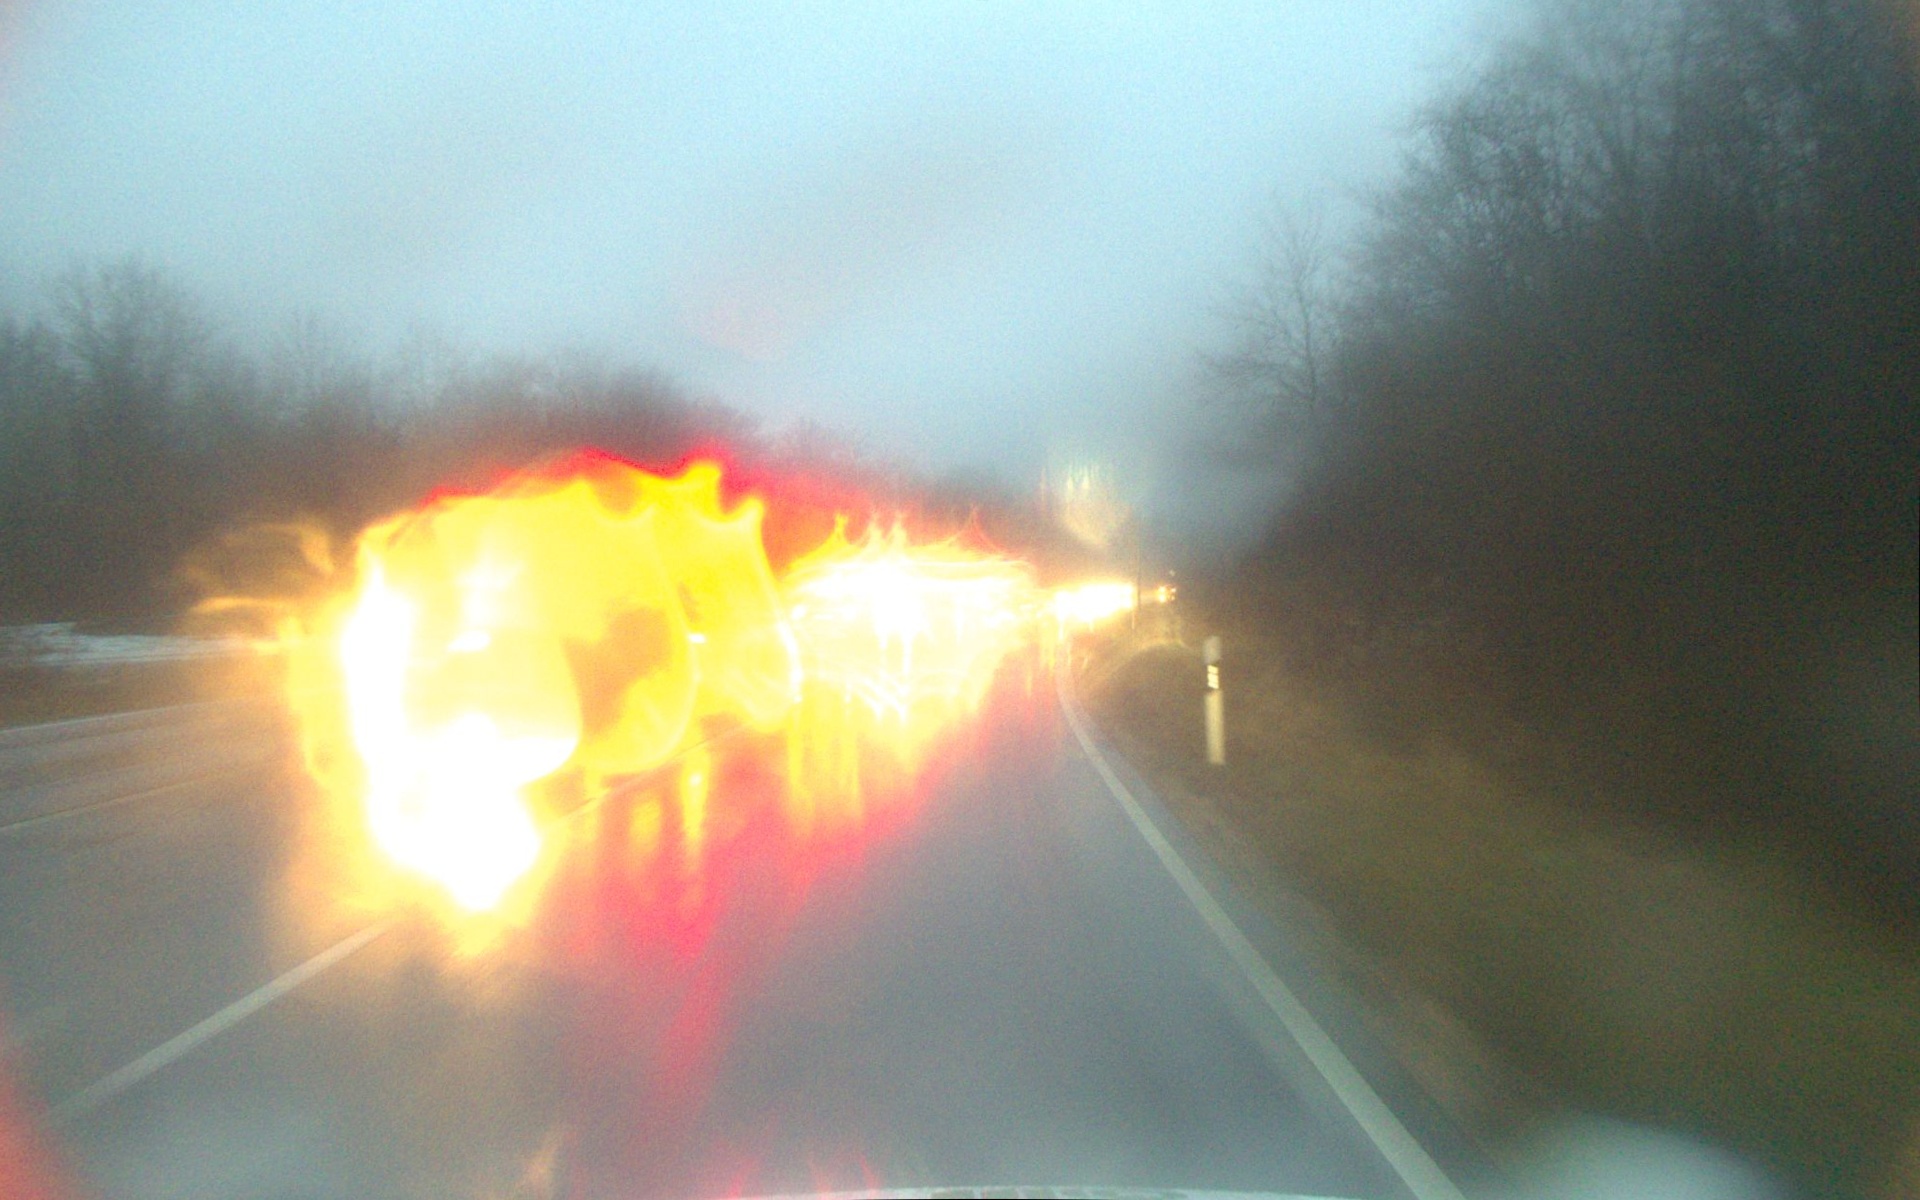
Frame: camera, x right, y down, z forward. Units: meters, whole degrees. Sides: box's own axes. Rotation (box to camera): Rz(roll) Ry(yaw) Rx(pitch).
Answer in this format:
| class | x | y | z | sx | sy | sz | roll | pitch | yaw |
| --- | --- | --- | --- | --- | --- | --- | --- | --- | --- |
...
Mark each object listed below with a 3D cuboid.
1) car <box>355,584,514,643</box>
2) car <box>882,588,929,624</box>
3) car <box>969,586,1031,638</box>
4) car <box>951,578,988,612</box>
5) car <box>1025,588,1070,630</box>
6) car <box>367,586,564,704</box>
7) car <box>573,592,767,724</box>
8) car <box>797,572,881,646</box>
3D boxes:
| class | x | y | z | sx | sy | sz | roll | pitch | yaw |
| --- | --- | --- | --- | --- | --- | --- | --- | --- | --- |
| car | -17.904 | 0.474 | 56.409 | 4.761 | 1.786 | 1.931 | 3 | 0 | -38 |
| car | -2.542 | 0.260 | 78.170 | 1.785 | 1.644 | 4.575 | 1 | 0 | 3 |
| car | 1.166 | 0.302 | 46.876 | 1.643 | 1.414 | 4.100 | 0 | 1 | 3 |
| car | 0.610 | -0.314 | 102.862 | 1.799 | 2.004 | 4.361 | 2 | 0 | 6 |
| car | 3.743 | 0.357 | 70.289 | 1.643 | 1.704 | 4.101 | 0 | 0 | 7 |
| car | -7.249 | 0.613 | 24.697 | 1.612 | 1.583 | 4.381 | 1 | 0 | 0 |
| car | -3.875 | 0.726 | 22.873 | 1.964 | 1.583 | 4.515 | -2 | 0 | -2 |
| car | -2.896 | 0.196 | 40.349 | 1.677 | 1.655 | 4.218 | 1 | 0 | 0 |
